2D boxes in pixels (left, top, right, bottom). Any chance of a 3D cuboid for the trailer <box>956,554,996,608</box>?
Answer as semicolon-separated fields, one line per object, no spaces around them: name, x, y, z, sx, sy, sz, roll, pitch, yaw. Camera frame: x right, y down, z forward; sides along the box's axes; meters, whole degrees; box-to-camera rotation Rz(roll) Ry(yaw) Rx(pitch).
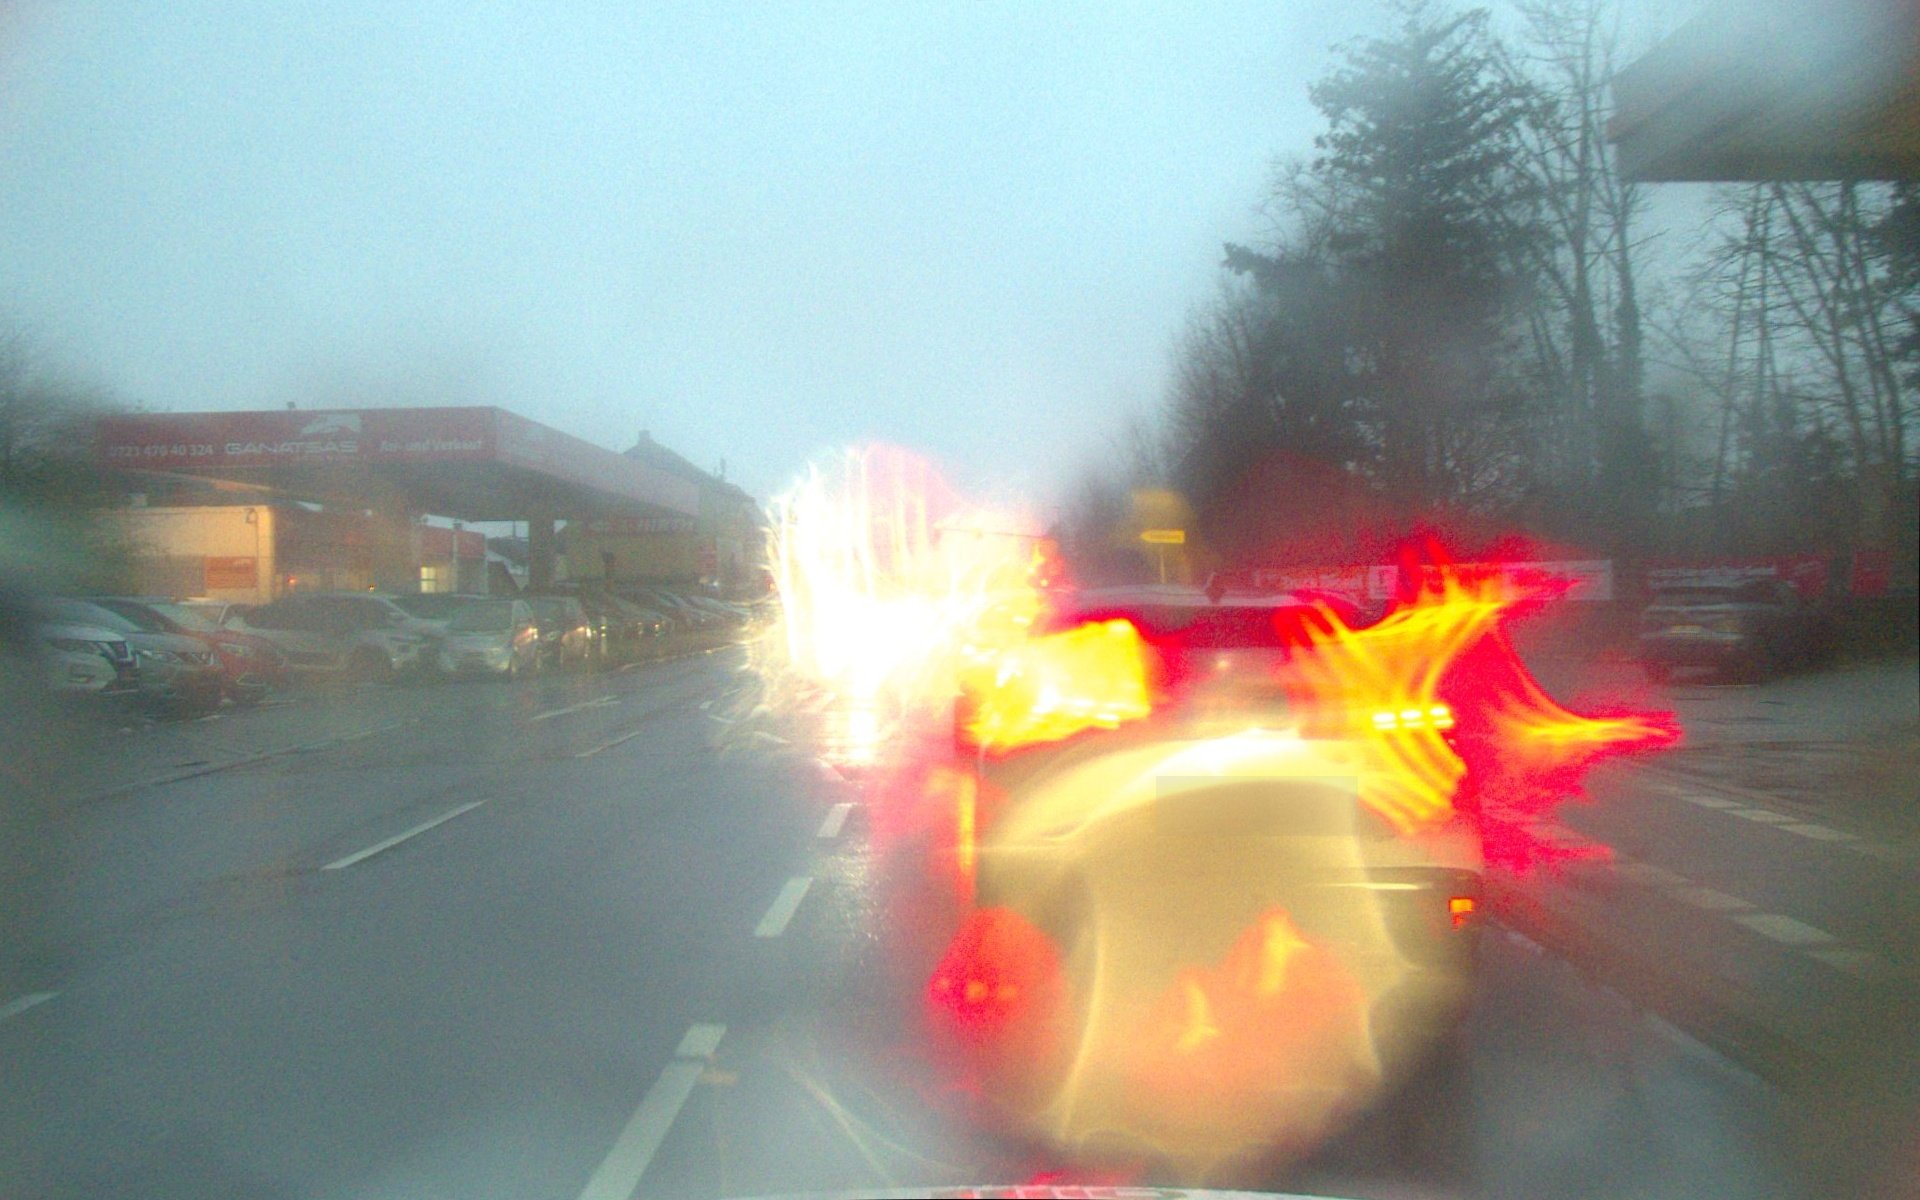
trailer;0.972;-1.156;107.759;2.437;3.297;10.867;0;0;-1

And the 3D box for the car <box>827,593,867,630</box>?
car;-5.222;0.510;76.768;1.570;1.561;3.999;-3;0;-1

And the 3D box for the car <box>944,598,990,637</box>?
car;0.261;0.628;60.826;1.619;1.359;4.272;-1;0;0

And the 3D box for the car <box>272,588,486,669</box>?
car;-12.694;0.606;36.285;3.963;1.679;1.942;-1;0;2

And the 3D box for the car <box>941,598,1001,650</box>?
car;0.309;0.662;47.228;1.607;1.390;4.769;0;0;0

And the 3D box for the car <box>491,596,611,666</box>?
car;-9.060;0.658;36.921;1.647;1.445;3.741;-1;0;2

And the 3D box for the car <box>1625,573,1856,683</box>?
car;12.839;0.407;27.083;4.449;1.636;1.987;-1;0;-44

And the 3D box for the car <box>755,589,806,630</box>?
car;-8.737;0.451;80.643;1.930;1.862;4.512;-2;0;0

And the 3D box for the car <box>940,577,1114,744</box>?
car;0.671;0.577;18.379;1.673;1.603;4.464;-1;0;0

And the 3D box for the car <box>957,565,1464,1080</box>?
car;0.775;0.670;7.026;1.533;1.556;4.007;0;0;0

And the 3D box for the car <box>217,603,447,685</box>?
car;-11.868;0.814;31.456;3.696;1.485;1.775;0;0;-3

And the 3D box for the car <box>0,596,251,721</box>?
car;-11.825;0.733;21.586;4.245;1.524;1.995;0;0;2

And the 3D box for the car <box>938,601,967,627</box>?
car;-0.434;0.814;96.395;1.628;1.464;4.381;0;0;0

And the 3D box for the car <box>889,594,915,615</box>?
car;-5.223;0.437;149.292;1.952;1.777;4.002;-2;0;3

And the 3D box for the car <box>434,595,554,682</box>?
car;-9.168;0.728;32.739;1.487;1.570;3.015;-2;0;0

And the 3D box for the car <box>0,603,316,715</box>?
car;-11.859;0.831;24.068;4.247;1.524;1.826;0;0;0

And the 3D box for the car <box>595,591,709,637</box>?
car;-12.426;0.554;66.962;4.189;1.691;2.000;2;0;0

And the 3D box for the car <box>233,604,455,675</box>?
car;-12.398;0.779;33.473;3.780;1.369;1.839;1;0;-1

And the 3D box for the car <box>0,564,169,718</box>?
car;-11.916;0.460;19.225;4.445;1.706;2.009;0;0;-4

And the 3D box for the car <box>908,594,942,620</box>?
car;-2.297;0.445;106.161;2.006;1.600;4.700;-2;0;-3

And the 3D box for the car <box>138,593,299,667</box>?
car;-16.475;0.631;36.957;1.796;1.515;3.872;1;0;1
